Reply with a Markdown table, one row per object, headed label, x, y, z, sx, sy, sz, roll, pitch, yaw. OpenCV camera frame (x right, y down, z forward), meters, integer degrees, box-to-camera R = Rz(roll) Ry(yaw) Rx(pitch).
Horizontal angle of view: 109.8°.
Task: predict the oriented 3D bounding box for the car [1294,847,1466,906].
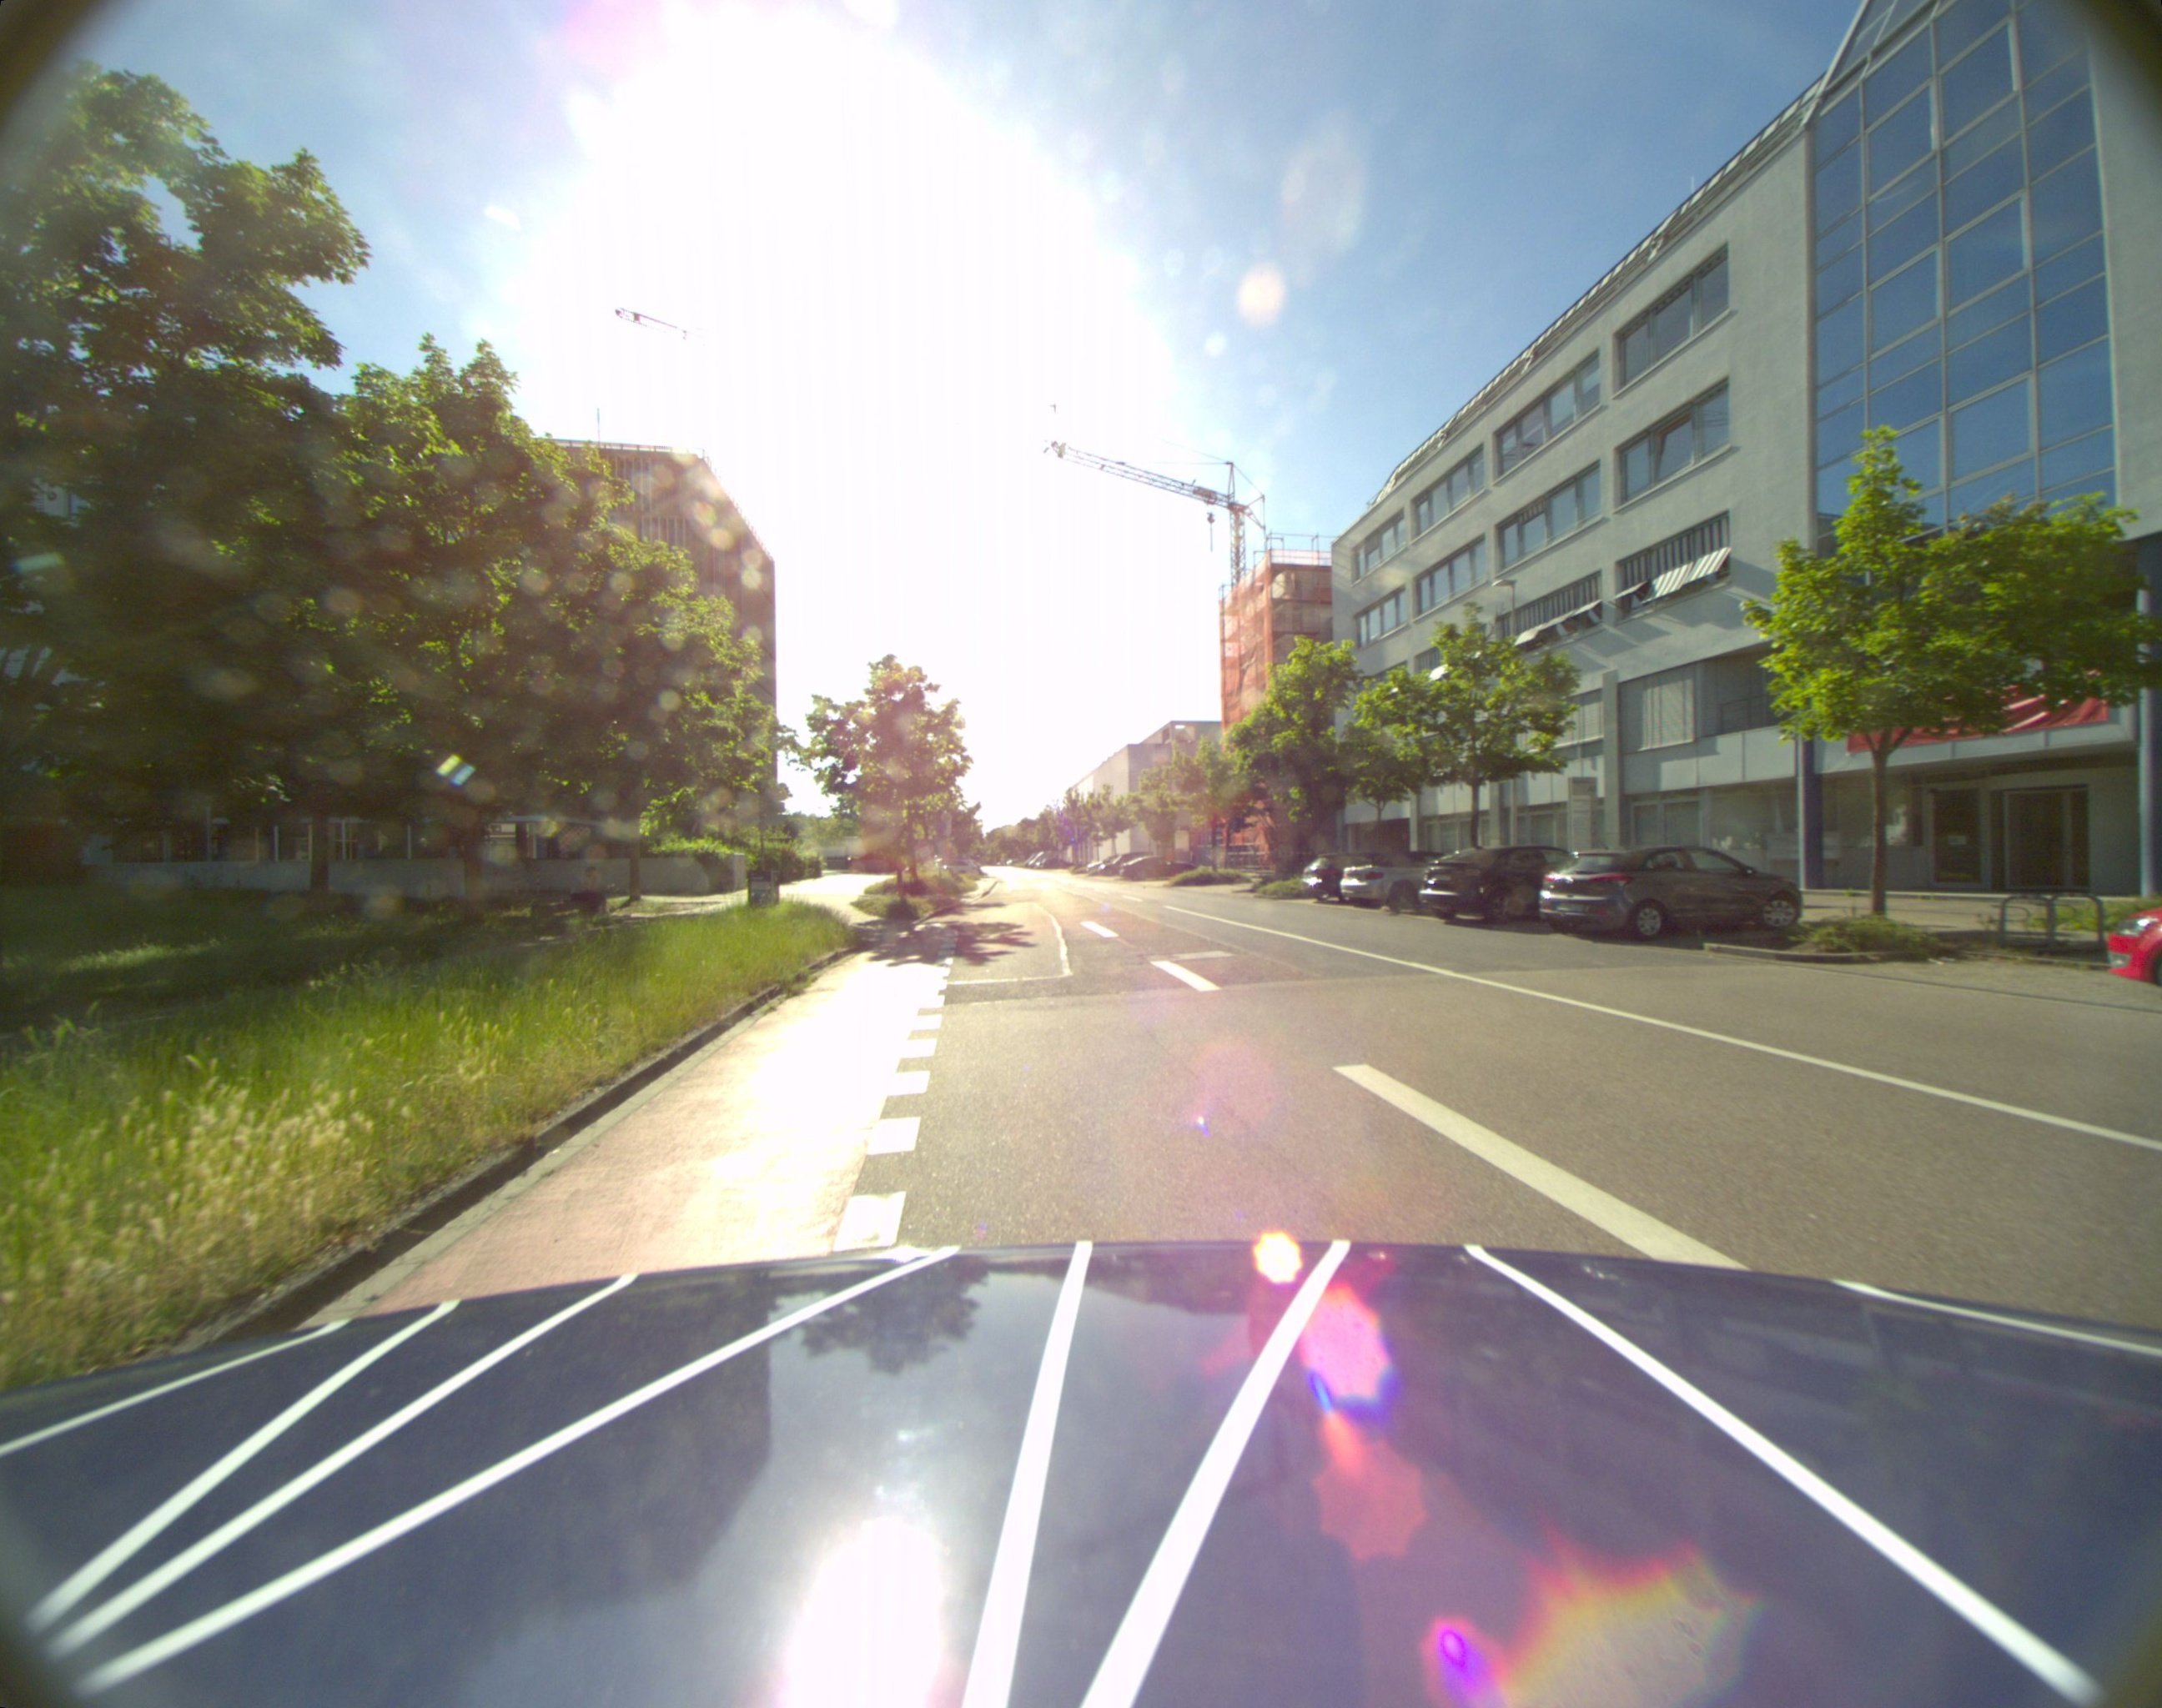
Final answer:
| label | x | y | z | sx | sy | sz | roll | pitch | yaw |
| --- | --- | --- | --- | --- | --- | --- | --- | --- | --- |
| car | 8.720 | 0.622 | 22.284 | 4.400 | 1.424 | 1.692 | -3 | 1 | -9 |

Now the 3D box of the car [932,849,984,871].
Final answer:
| label | x | y | z | sx | sy | sz | roll | pitch | yaw |
| --- | --- | --- | --- | --- | --- | --- | --- | --- | --- |
| car | -10.662 | 0.546 | 66.153 | 4.416 | 1.881 | 2.073 | 0 | 0 | -8 |

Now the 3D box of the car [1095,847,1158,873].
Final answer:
| label | x | y | z | sx | sy | sz | roll | pitch | yaw |
| --- | --- | --- | --- | --- | --- | --- | --- | --- | --- |
| car | 3.407 | 0.434 | 57.177 | 4.399 | 1.735 | 1.846 | -3 | 1 | -7 |

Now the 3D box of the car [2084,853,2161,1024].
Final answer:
| label | x | y | z | sx | sy | sz | roll | pitch | yaw |
| --- | --- | --- | --- | --- | --- | --- | --- | --- | --- |
| car | 10.284 | 0.704 | 5.141 | 1.693 | 1.423 | 3.868 | -3 | 1 | -8 |

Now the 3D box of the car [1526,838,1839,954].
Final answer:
| label | x | y | z | sx | sy | sz | roll | pitch | yaw |
| --- | --- | --- | --- | --- | --- | --- | --- | --- | --- |
| car | 10.008 | 0.628 | 12.729 | 4.401 | 1.529 | 1.692 | -3 | 1 | -13 |

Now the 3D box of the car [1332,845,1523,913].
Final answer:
| label | x | y | z | sx | sy | sz | roll | pitch | yaw |
| --- | --- | --- | --- | --- | --- | --- | --- | --- | --- |
| car | 9.086 | 0.613 | 20.005 | 4.401 | 1.424 | 1.692 | -3 | 1 | -13 |

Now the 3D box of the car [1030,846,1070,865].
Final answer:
| label | x | y | z | sx | sy | sz | roll | pitch | yaw |
| --- | --- | --- | --- | --- | --- | --- | --- | --- | --- |
| car | -4.575 | 0.231 | 110.346 | 5.586 | 2.468 | 2.009 | -3 | 1 | -6 |

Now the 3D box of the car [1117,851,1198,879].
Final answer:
| label | x | y | z | sx | sy | sz | roll | pitch | yaw |
| --- | --- | --- | --- | --- | --- | --- | --- | --- | --- |
| car | 4.571 | 0.656 | 45.823 | 4.400 | 1.424 | 1.975 | -3 | 1 | -12 |

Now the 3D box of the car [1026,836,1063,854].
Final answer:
| label | x | y | z | sx | sy | sz | roll | pitch | yaw |
| --- | --- | --- | --- | --- | --- | --- | --- | --- | --- |
| car | -5.883 | -1.456 | 122.105 | 5.586 | 2.622 | 2.009 | -3 | 1 | -6 |

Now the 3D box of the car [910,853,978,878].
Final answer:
| label | x | y | z | sx | sy | sz | roll | pitch | yaw |
| --- | --- | --- | --- | --- | --- | --- | --- | --- | --- |
| car | -9.155 | 0.750 | 50.976 | 4.416 | 1.631 | 2.073 | 0 | 0 | -8 |

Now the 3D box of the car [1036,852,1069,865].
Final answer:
| label | x | y | z | sx | sy | sz | roll | pitch | yaw |
| --- | --- | --- | --- | --- | --- | --- | --- | --- | --- |
| car | -4.020 | 0.595 | 107.049 | 4.318 | 1.505 | 1.692 | -3 | 1 | -9 |

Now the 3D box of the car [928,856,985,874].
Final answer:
| label | x | y | z | sx | sy | sz | roll | pitch | yaw |
| --- | --- | --- | --- | --- | --- | --- | --- | --- | --- |
| car | -9.883 | 0.890 | 60.467 | 4.416 | 1.401 | 2.073 | 0 | 0 | -8 |

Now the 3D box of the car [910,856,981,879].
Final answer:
| label | x | y | z | sx | sy | sz | roll | pitch | yaw |
| --- | --- | --- | --- | --- | --- | --- | --- | --- | --- |
| car | -8.654 | 0.866 | 48.742 | 4.416 | 1.454 | 1.894 | 0 | 0 | -8 |

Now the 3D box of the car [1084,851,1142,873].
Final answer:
| label | x | y | z | sx | sy | sz | roll | pitch | yaw |
| --- | --- | --- | --- | --- | --- | --- | --- | --- | --- |
| car | 2.572 | 0.642 | 61.456 | 4.399 | 1.505 | 1.692 | -3 | 1 | -8 |

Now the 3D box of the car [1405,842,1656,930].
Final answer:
| label | x | y | z | sx | sy | sz | roll | pitch | yaw |
| --- | --- | --- | --- | --- | --- | --- | --- | --- | --- |
| car | 9.220 | 0.603 | 15.694 | 4.400 | 1.424 | 1.692 | -3 | 1 | -11 |

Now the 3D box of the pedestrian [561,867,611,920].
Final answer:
| label | x | y | z | sx | sy | sz | roll | pitch | yaw |
| --- | --- | --- | --- | --- | --- | --- | --- | --- | --- |
| pedestrian | -11.748 | 0.926 | 18.065 | 0.848 | 1.210 | 0.727 | 0 | 0 | -21 |

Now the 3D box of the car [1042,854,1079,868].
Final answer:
| label | x | y | z | sx | sy | sz | roll | pitch | yaw |
| --- | --- | --- | --- | --- | --- | --- | --- | --- | --- |
| car | -2.595 | 0.868 | 95.992 | 4.318 | 1.505 | 1.717 | -3 | 1 | -9 |
